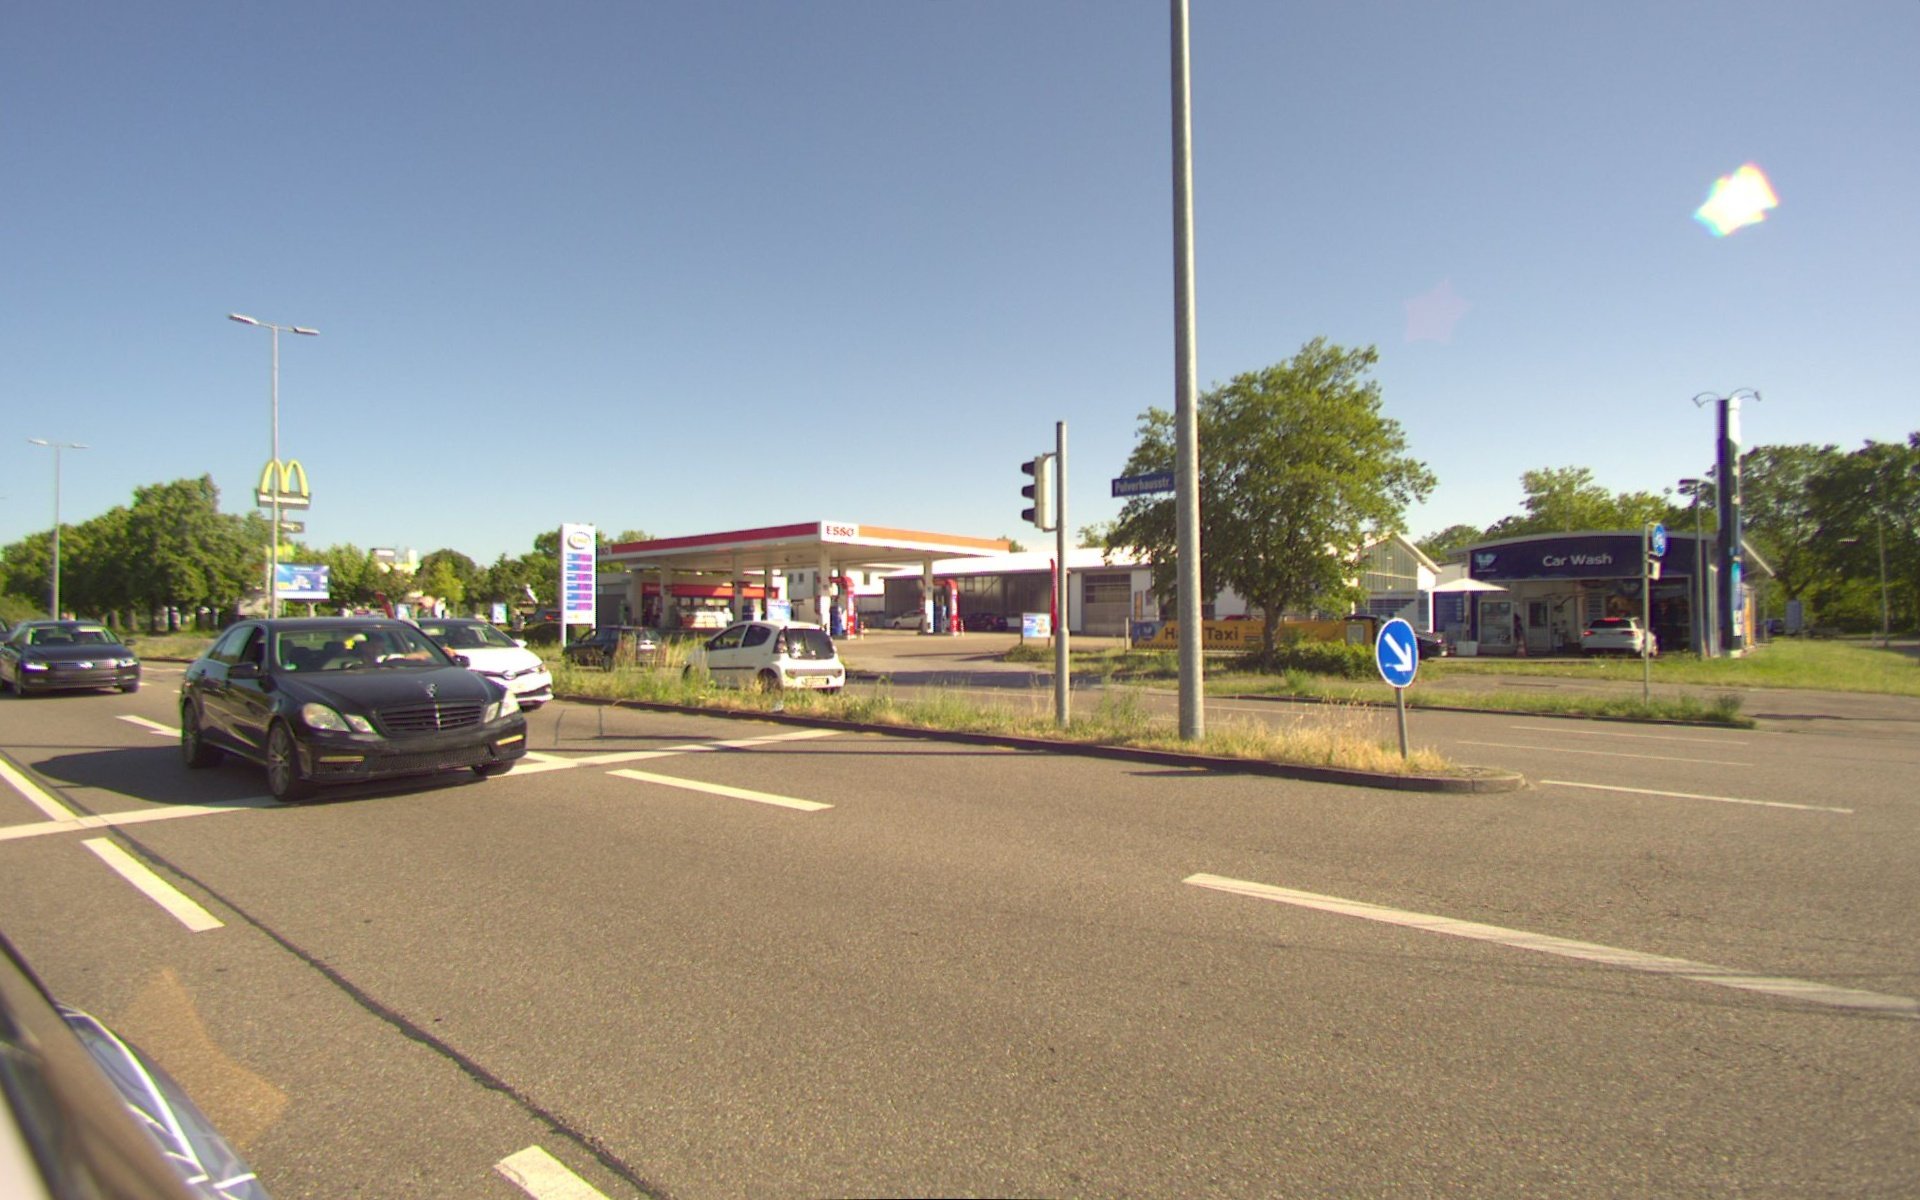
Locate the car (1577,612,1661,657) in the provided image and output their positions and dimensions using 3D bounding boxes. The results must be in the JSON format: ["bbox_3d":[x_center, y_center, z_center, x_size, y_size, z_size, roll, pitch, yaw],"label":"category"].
[{"bbox_3d":[22.743,1.208,34.871,1.900,1.443,4.063,-1,-3,41],"label":"car"}]

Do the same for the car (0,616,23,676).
[{"bbox_3d":[-29.550,1.364,30.098,4.694,1.696,1.973,-1,0,41],"label":"car"}]

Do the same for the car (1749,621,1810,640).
[{"bbox_3d":[80.072,2.999,98.963,2.072,1.813,4.786,1,-2,0],"label":"car"}]

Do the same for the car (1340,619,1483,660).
[{"bbox_3d":[15.389,1.326,34.585,4.116,1.335,1.876,-1,-3,40],"label":"car"}]

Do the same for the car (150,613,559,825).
[{"bbox_3d":[-5.905,0.899,9.561,4.916,1.494,1.938,-1,-1,42],"label":"car"}]

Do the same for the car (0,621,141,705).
[{"bbox_3d":[-17.902,1.183,20.156,4.264,1.464,1.824,-1,-1,42],"label":"car"}]

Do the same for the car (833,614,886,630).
[{"bbox_3d":[-7.968,1.750,79.994,4.116,1.236,1.876,-1,-3,40],"label":"car"}]

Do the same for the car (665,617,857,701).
[{"bbox_3d":[-3.827,1.065,19.179,3.663,1.443,1.677,-1,-3,42],"label":"car"}]

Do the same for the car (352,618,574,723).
[{"bbox_3d":[-8.005,1.030,16.142,4.115,1.466,1.767,-1,-2,42],"label":"car"}]

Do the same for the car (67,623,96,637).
[{"bbox_3d":[-91.942,3.165,105.867,4.457,1.443,1.677,-1,-3,42],"label":"car"}]

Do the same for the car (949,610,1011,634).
[{"bbox_3d":[1.397,1.583,71.461,4.116,1.603,1.876,-1,-3,40],"label":"car"}]

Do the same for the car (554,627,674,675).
[{"bbox_3d":[-11.208,1.604,32.674,4.457,1.443,1.677,-1,-3,42],"label":"car"}]

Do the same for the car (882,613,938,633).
[{"bbox_3d":[-3.766,1.727,75.808,4.116,1.451,1.750,-1,-2,40],"label":"car"}]

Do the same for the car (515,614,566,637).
[{"bbox_3d":[-31.280,1.878,75.463,4.116,1.625,1.740,-1,-3,40],"label":"car"}]
